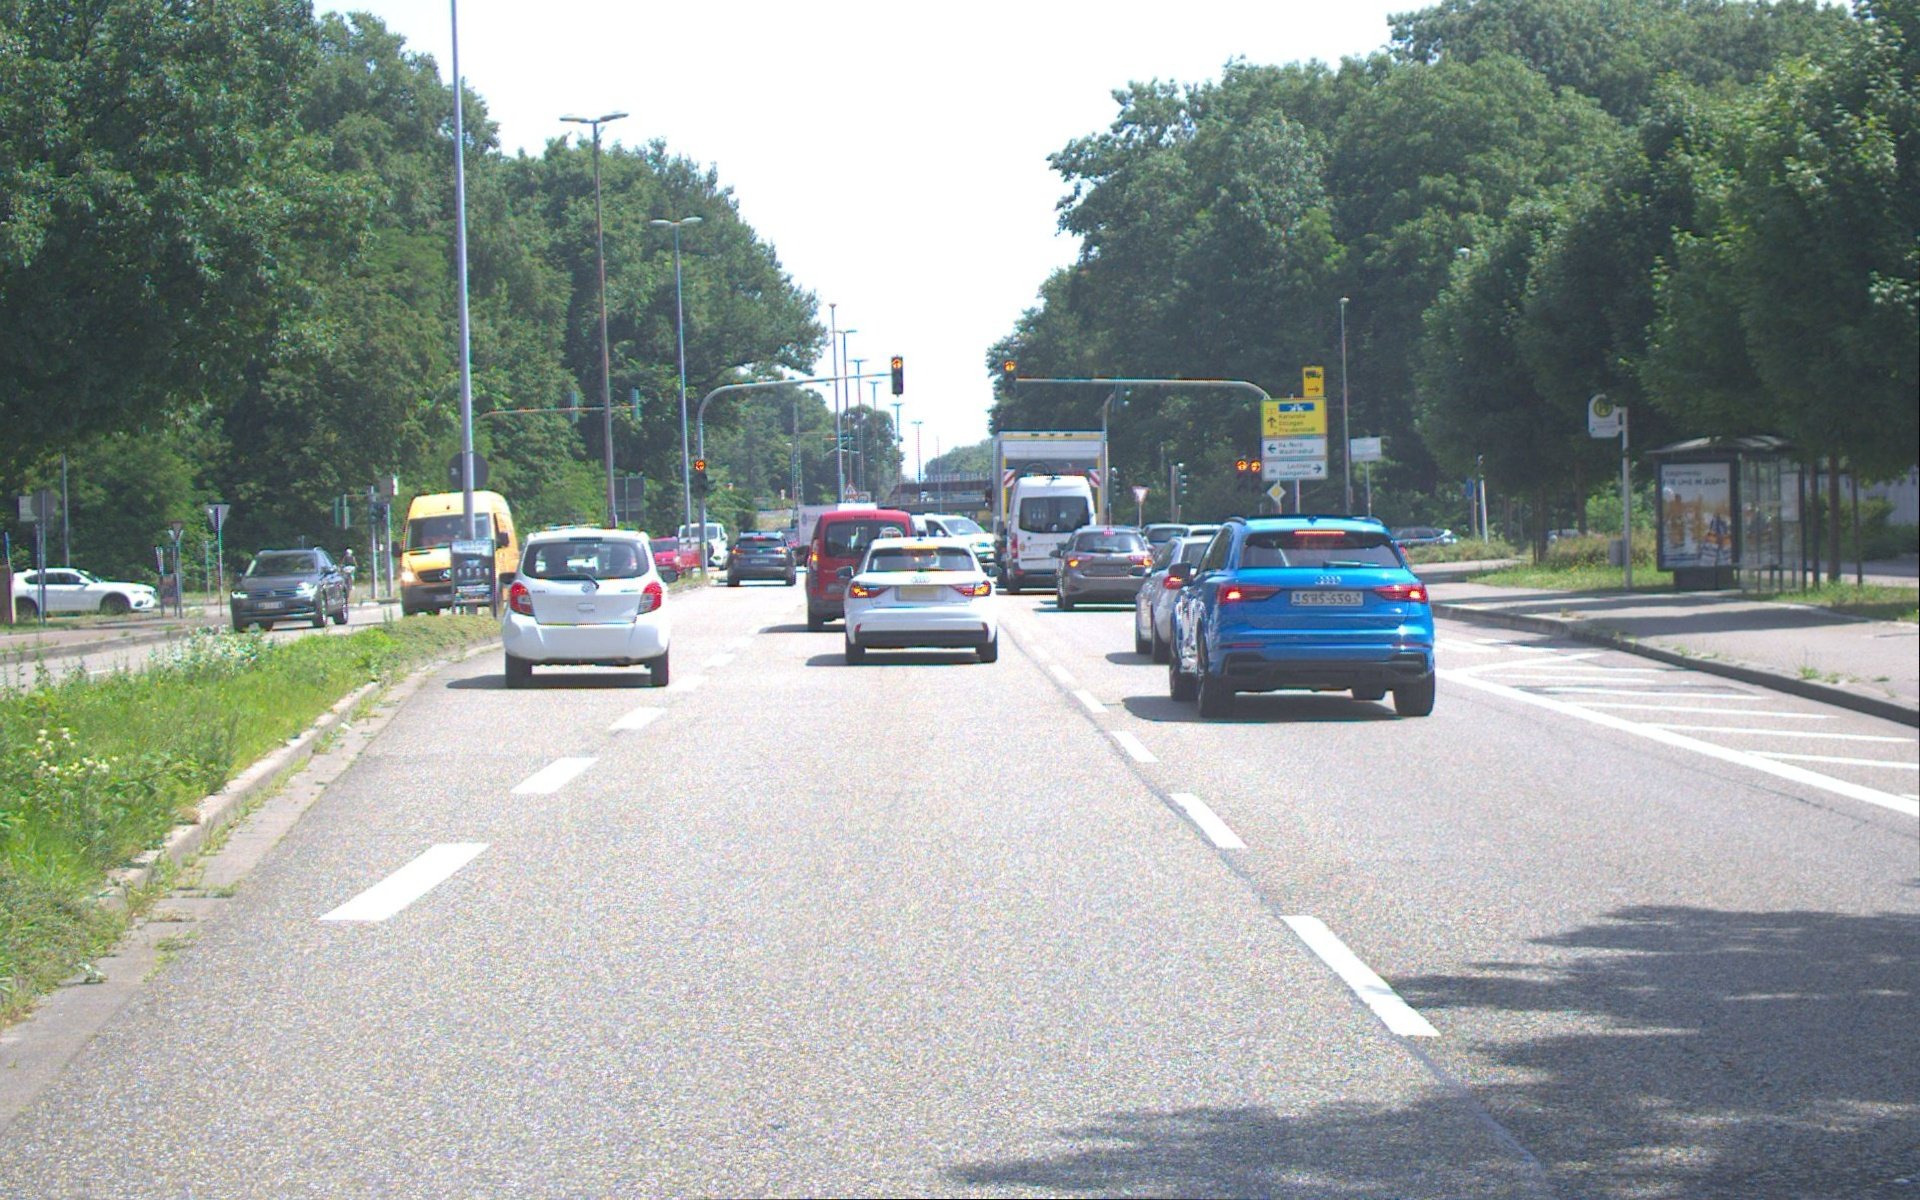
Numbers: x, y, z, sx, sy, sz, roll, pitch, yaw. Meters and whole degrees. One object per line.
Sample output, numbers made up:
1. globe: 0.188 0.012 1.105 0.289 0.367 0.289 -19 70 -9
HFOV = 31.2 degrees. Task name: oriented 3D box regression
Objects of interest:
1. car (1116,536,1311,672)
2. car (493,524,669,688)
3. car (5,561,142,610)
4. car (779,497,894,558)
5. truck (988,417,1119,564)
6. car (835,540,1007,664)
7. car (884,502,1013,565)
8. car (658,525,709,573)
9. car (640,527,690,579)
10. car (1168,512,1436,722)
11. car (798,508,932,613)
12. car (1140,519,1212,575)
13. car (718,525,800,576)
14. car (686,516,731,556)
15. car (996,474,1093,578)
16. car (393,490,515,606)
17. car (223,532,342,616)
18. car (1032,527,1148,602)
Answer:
1. car: 2.853 0.018 39.439 1.865 1.468 4.000 -1 1 -1
2. car: -3.764 0.036 34.513 1.638 1.546 3.326 -1 1 -5
3. car: -28.034 -0.460 108.763 3.986 1.393 1.590 -2 1 -7
4. car: -4.354 -2.537 120.723 1.994 2.006 3.999 -3 2 -38
5. truck: 2.324 -2.796 88.679 2.932 3.490 9.159 -2 1 -1
6. car: -0.448 -0.007 39.856 1.884 1.349 4.000 -1 1 0
7. car: -0.397 -2.227 115.760 3.996 2.006 1.995 0 2 41
8. car: -8.002 -1.488 99.494 1.368 1.304 2.694 -2 2 -3
9. car: -10.495 -1.683 122.326 1.618 1.777 3.116 -2 1 -3
10. car: 2.743 0.097 28.426 1.808 1.587 4.349 -1 1 1
11. car: -1.463 -0.600 51.845 1.794 1.518 4.001 -1 1 -5
12. car: 5.880 -1.458 93.818 1.633 1.459 4.000 -2 1 -1
13. car: -5.435 -1.355 93.269 1.993 1.283 4.000 -2 1 -1
14. car: -10.391 -2.672 142.195 1.595 1.577 3.772 -2 2 -1
15. car: 1.893 -1.679 78.149 1.993 2.248 4.000 -2 1 -1
16. car: -10.262 -1.058 70.014 1.779 2.274 4.752 -1 1 0
17. car: -13.817 -0.540 70.294 1.710 1.656 4.000 -1 1 -1
18. car: 2.342 -0.657 62.803 1.865 1.305 4.000 -1 1 -1
